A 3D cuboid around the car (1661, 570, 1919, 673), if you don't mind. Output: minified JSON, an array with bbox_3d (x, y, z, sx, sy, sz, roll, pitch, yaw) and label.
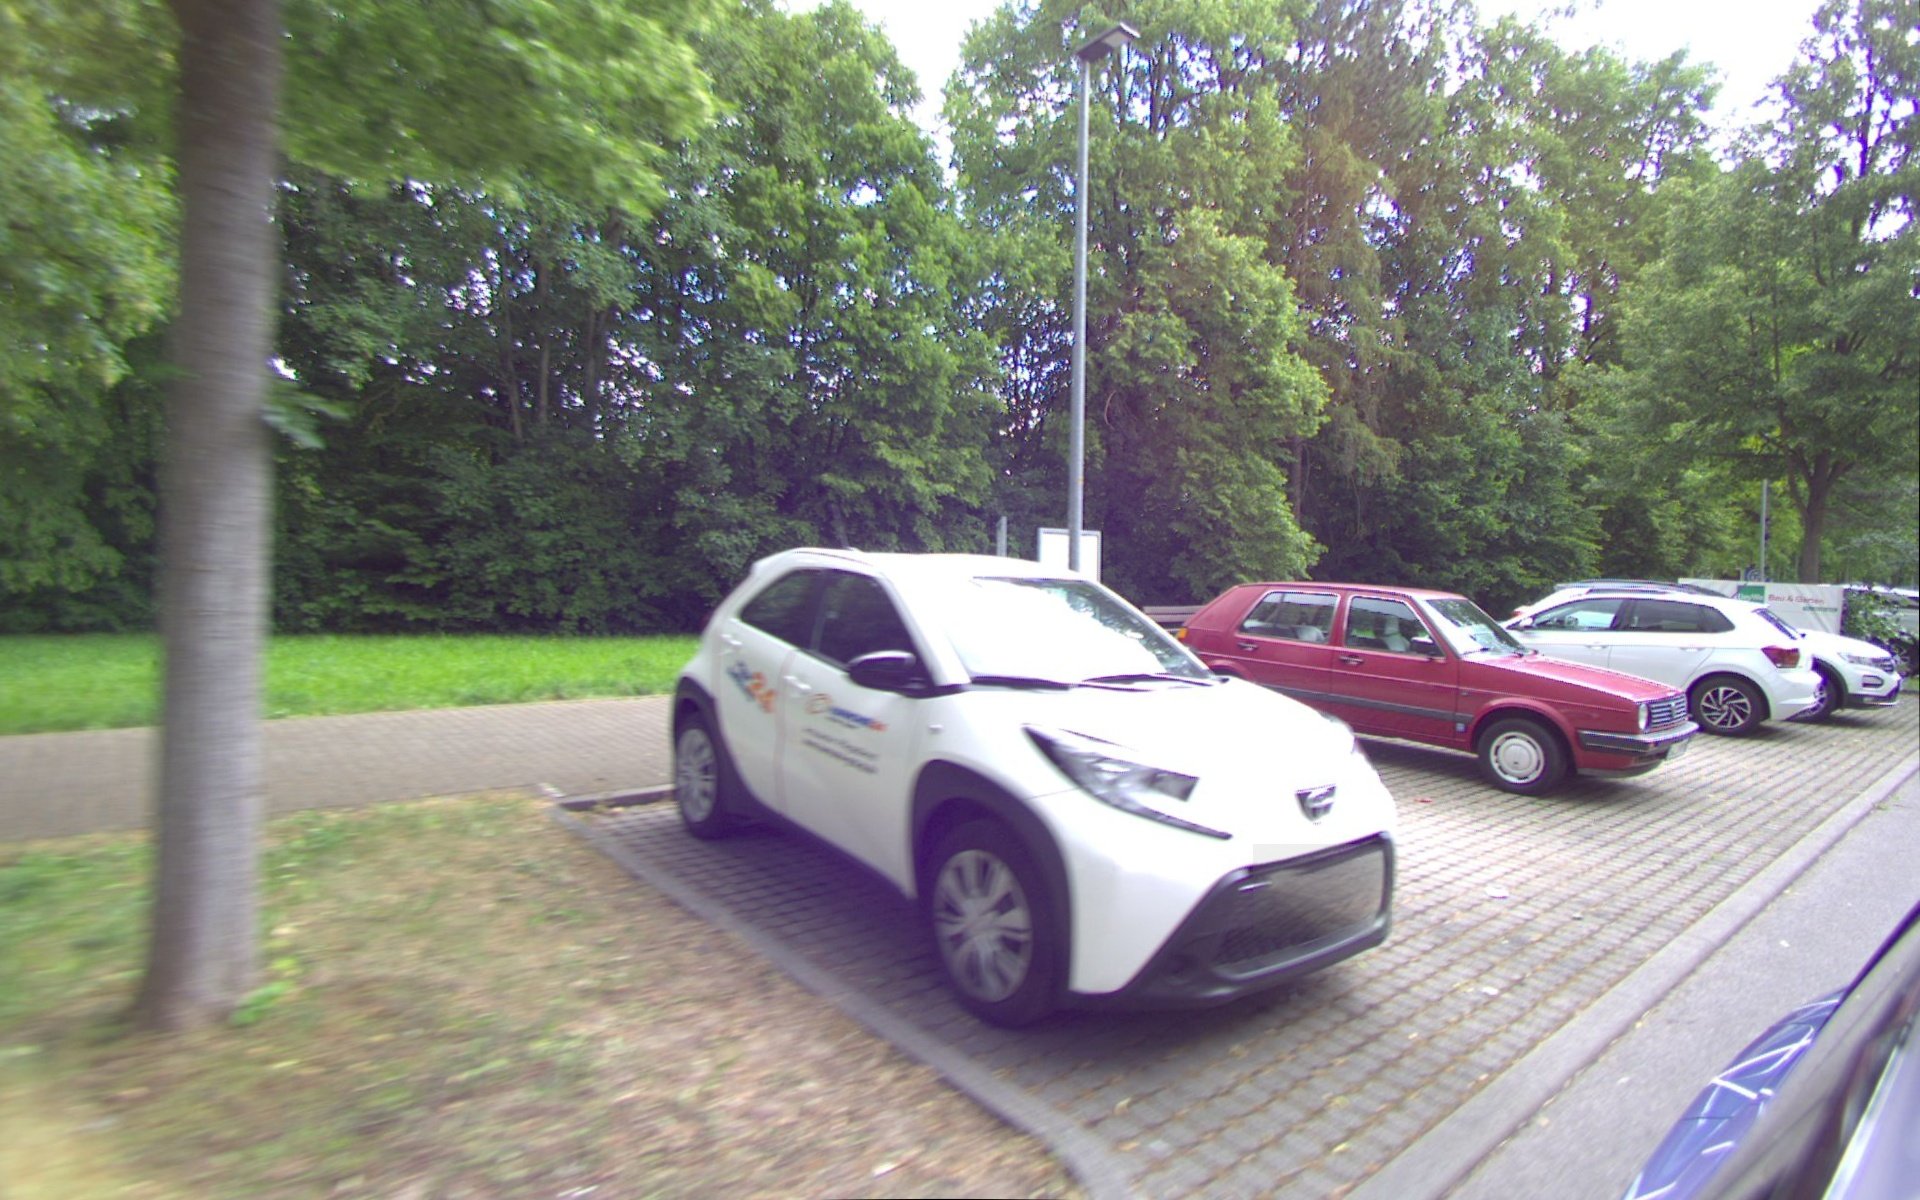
[{"bbox_3d":[17.102,0.364,20.074,1.937,1.714,4.834,0,3,-37],"label":"car"}]

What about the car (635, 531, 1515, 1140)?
[{"bbox_3d":[0.098,0.497,4.658,1.846,1.534,3.852,0,3,-37],"label":"car"}]

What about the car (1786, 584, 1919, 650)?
[{"bbox_3d":[24.639,0.437,26.754,1.756,1.590,4.162,0,2,-44],"label":"car"}]

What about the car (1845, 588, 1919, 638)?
[{"bbox_3d":[30.350,0.430,31.450,1.755,1.482,4.093,0,2,-42],"label":"car"}]

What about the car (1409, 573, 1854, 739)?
[{"bbox_3d":[7.625,0.491,11.757,4.011,1.439,1.763,5,4,45],"label":"car"}]

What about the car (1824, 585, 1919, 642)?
[{"bbox_3d":[28.331,0.413,29.815,1.755,1.590,4.142,0,2,-42],"label":"car"}]

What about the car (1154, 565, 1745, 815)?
[{"bbox_3d":[3.826,0.512,8.491,1.785,1.439,4.062,0,3,-41],"label":"car"}]

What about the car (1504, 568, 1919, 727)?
[{"bbox_3d":[9.563,0.463,13.015,1.829,1.566,4.119,0,3,-43],"label":"car"}]

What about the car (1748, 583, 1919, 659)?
[{"bbox_3d":[21.201,0.458,23.557,1.817,1.590,4.170,0,2,-38],"label":"car"}]

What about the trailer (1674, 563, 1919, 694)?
[{"bbox_3d":[13.589,0.370,16.370,1.537,1.812,3.034,0,3,-43],"label":"trailer"}]
